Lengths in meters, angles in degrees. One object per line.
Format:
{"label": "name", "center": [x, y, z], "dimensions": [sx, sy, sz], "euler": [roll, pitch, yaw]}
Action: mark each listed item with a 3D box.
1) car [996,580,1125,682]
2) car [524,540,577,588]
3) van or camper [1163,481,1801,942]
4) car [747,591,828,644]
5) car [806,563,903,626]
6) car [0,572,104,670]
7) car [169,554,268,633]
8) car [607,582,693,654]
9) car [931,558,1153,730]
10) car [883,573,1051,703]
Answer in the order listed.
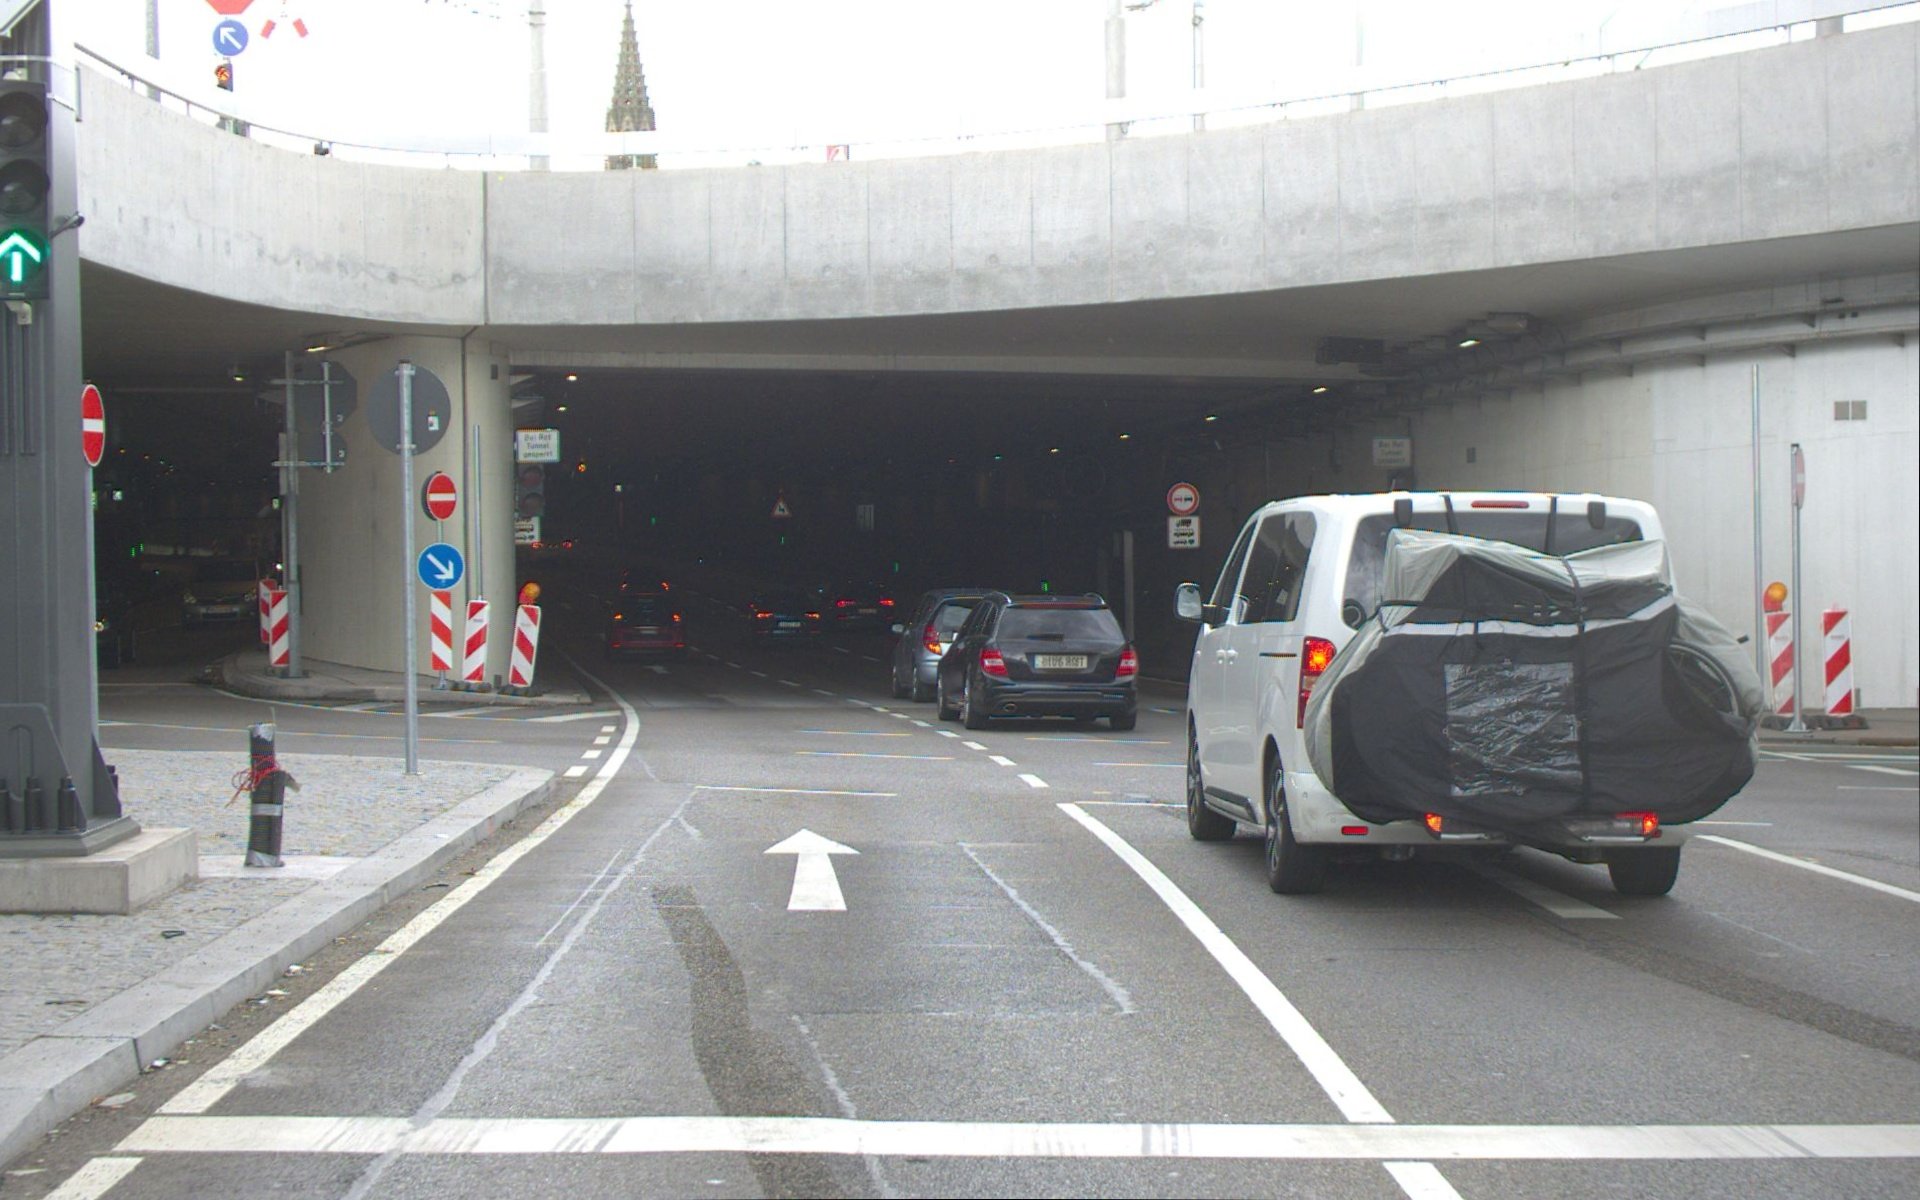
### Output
{"label": "car", "center": [1.779, 0.538, 61.926], "dimensions": [1.659, 1.628, 3.568], "euler": [4, 1, -8]}
{"label": "car", "center": [-17.349, -1.541, 145.515], "dimensions": [1.993, 2.007, 4.001], "euler": [0, 1, -10]}
{"label": "van or camper", "center": [2.291, 0.475, 16.750], "dimensions": [1.993, 1.839, 5.508], "euler": [1, 0, -3]}
{"label": "car", "center": [-4.144, 0.412, 82.149], "dimensions": [1.663, 1.243, 3.568], "euler": [0, 0, -8]}
{"label": "car", "center": [-2.904, -0.145, 93.409], "dimensions": [1.989, 1.670, 4.509], "euler": [0, 0, -10]}
{"label": "car", "center": [-14.699, 0.301, 54.112], "dimensions": [1.664, 1.436, 4.114], "euler": [-1, 1, -24]}
{"label": "car", "center": [-16.290, -0.174, 75.693], "dimensions": [1.807, 1.599, 4.789], "euler": [-1, 2, -8]}
{"label": "car", "center": [-6.557, 0.366, 72.556], "dimensions": [1.659, 1.483, 3.568], "euler": [0, 0, -8]}
{"label": "car", "center": [0.801, 0.434, 36.244], "dimensions": [1.818, 1.678, 4.001], "euler": [1, 0, -6]}
{"label": "car", "center": [0.047, 0.494, 47.855], "dimensions": [1.818, 1.575, 4.001], "euler": [4, 1, -6]}
